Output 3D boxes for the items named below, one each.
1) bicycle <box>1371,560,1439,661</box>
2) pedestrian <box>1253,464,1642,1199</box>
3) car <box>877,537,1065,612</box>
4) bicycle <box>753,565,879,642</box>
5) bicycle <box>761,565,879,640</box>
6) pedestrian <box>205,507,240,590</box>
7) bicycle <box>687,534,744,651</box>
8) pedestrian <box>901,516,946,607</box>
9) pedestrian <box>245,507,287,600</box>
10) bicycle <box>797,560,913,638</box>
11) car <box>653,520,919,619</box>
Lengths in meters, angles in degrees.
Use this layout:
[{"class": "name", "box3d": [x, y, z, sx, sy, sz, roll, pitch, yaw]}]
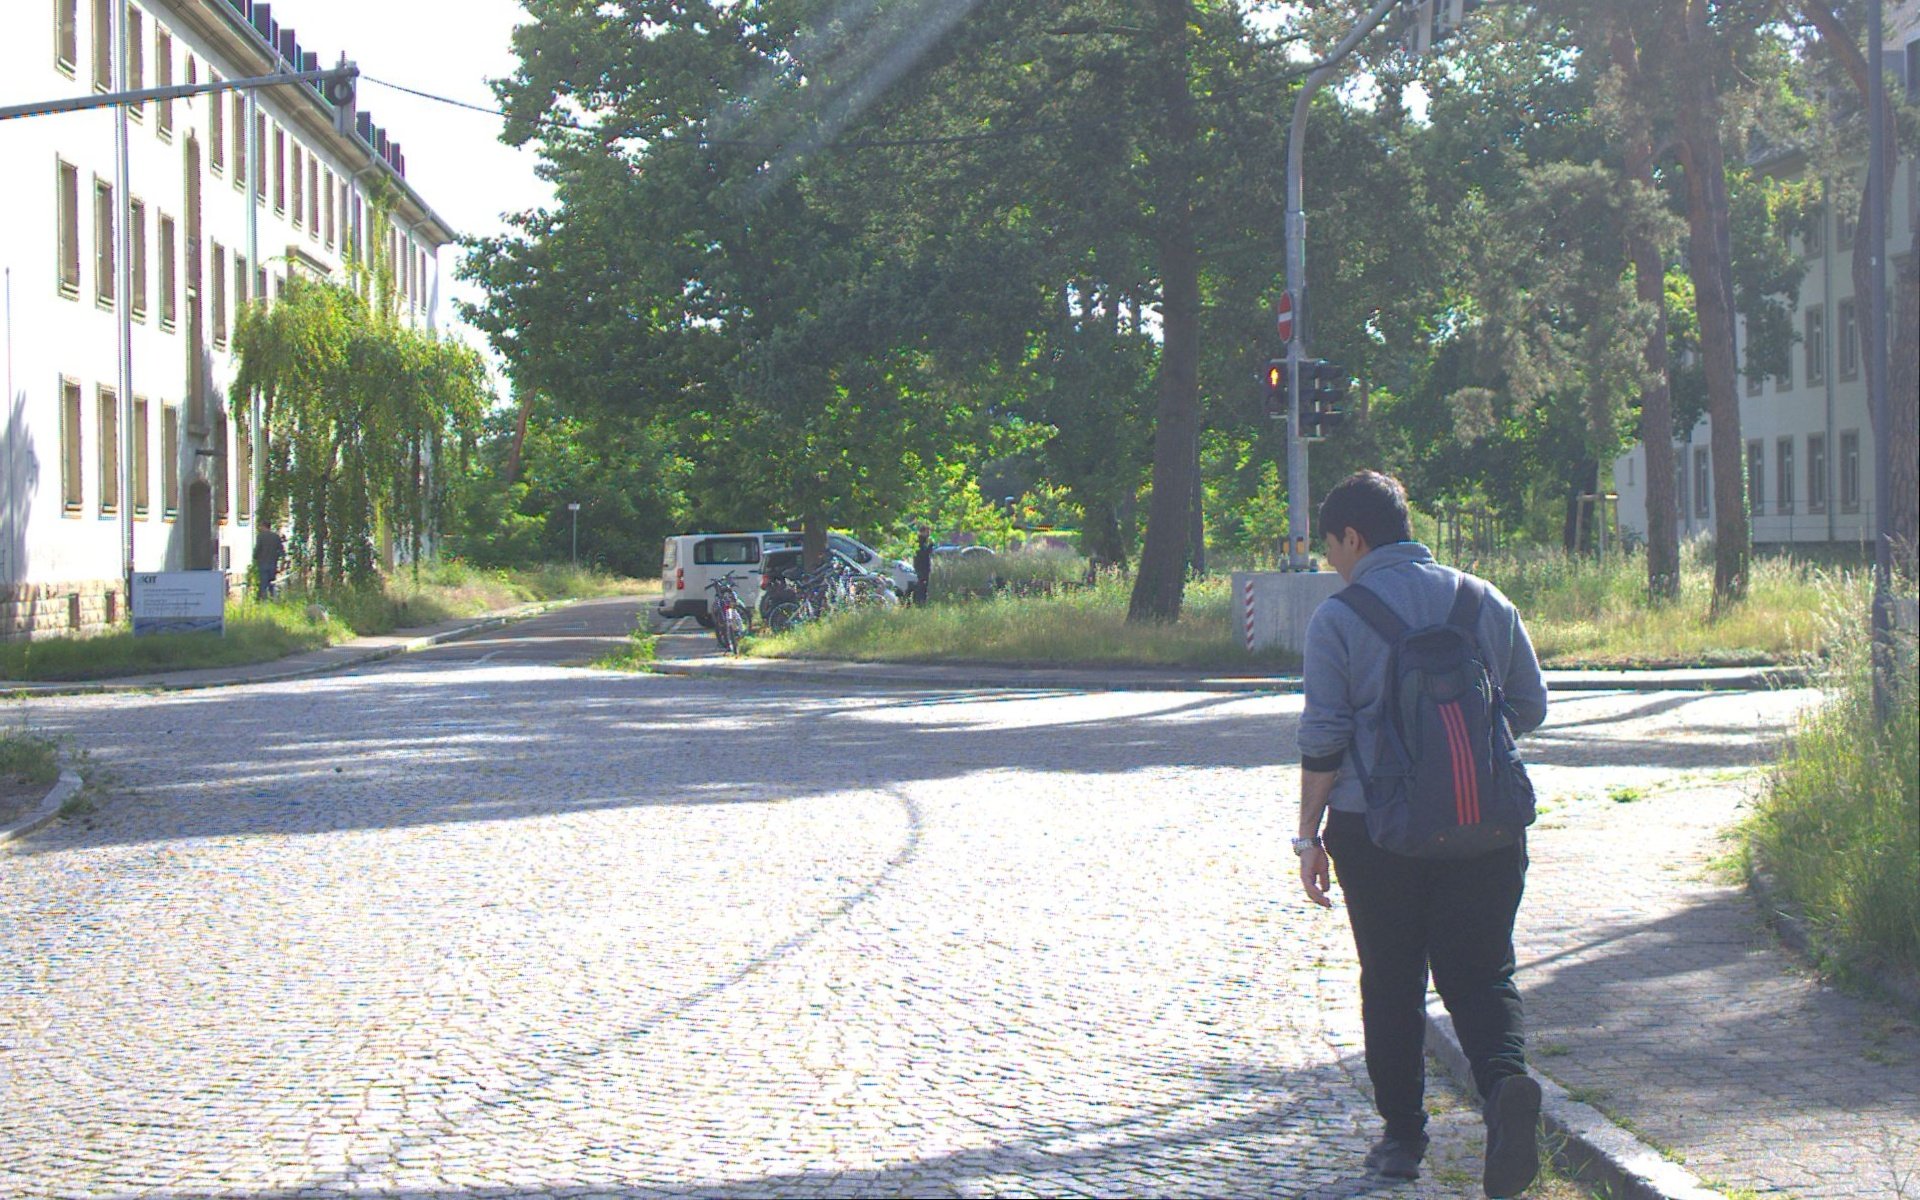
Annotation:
[{"class": "bicycle", "box3d": [5.131, 0.101, 39.731, 0.722, 1.111, 2.583, -1, 1, 6]}, {"class": "pedestrian", "box3d": [1.126, 0.559, 8.104, 0.753, 1.719, 0.828, 1, 1, 0]}, {"class": "car", "box3d": [0.215, -0.557, 73.236, 3.743, 1.574, 1.742, 0, 1, -10]}, {"class": "bicycle", "box3d": [-2.151, 0.046, 51.296, 1.834, 1.108, 0.495, -1, 1, -6]}, {"class": "bicycle", "box3d": [-2.114, 0.037, 51.843, 1.727, 1.108, 0.484, -1, 1, -6]}, {"class": "pedestrian", "box3d": [-13.881, -0.978, 64.732, 0.606, 1.554, 0.545, 0, 1, -10]}, {"class": "bicycle", "box3d": [-3.392, -0.127, 47.780, 0.753, 1.575, 2.537, 0, 1, -4]}, {"class": "pedestrian", "box3d": [-0.724, -0.758, 67.699, 0.759, 1.777, 0.684, -1, 1, -11]}, {"class": "pedestrian", "box3d": [-13.144, -0.881, 65.110, 0.607, 1.746, 0.630, -1, 1, -32]}, {"class": "bicycle", "box3d": [-1.605, -0.015, 52.569, 1.727, 1.160, 0.561, -1, 1, -6]}, {"class": "car", "box3d": [-3.511, -0.632, 69.133, 5.065, 1.911, 2.001, -1, 1, -12]}]
